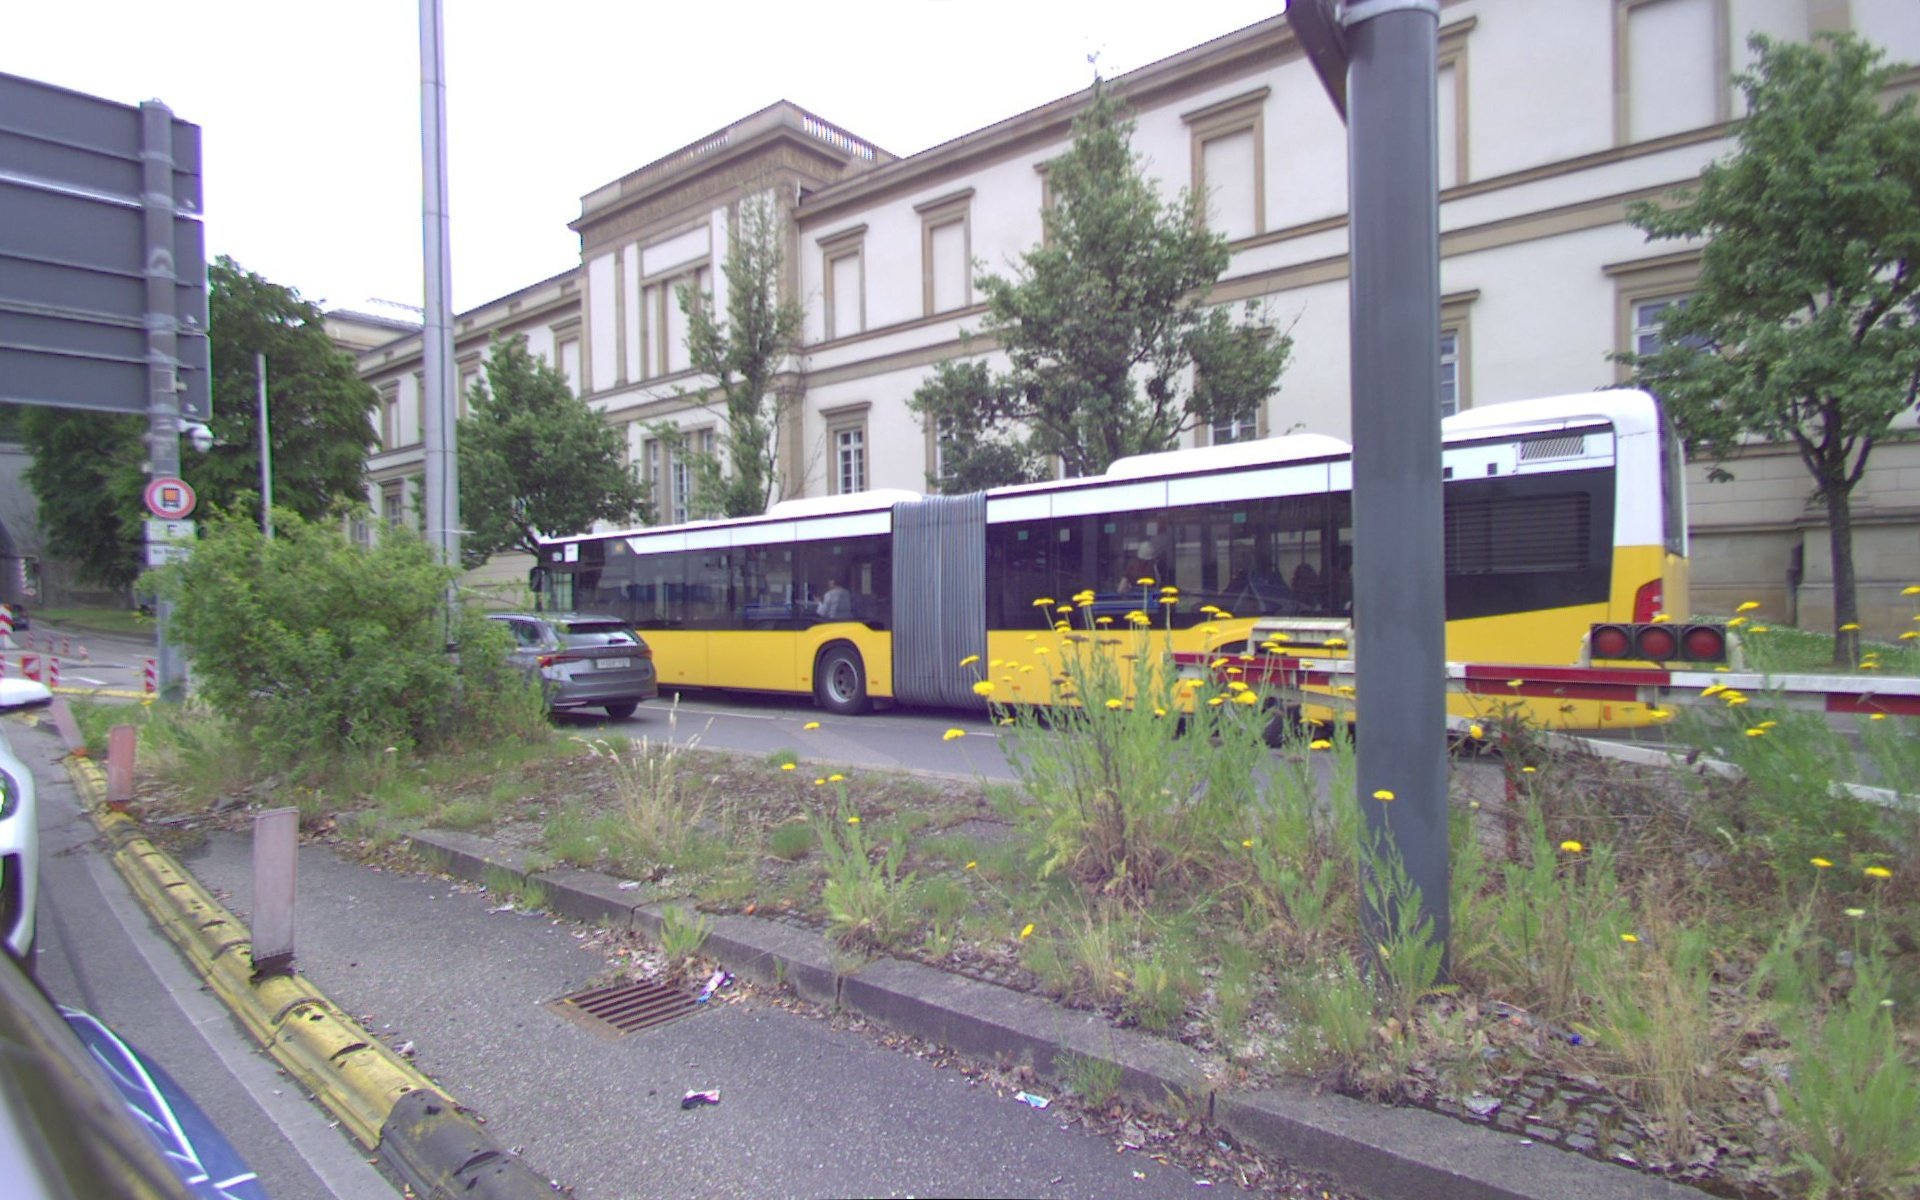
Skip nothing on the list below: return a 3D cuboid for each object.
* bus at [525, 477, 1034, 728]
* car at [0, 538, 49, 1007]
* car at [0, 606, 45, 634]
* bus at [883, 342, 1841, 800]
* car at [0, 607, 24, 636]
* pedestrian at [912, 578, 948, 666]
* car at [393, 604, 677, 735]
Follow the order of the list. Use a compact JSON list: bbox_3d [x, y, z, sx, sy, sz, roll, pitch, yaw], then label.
[{"bbox_3d":[-3.553,0.100,16.937,9.742,3.137,2.816,-1,0,41],"label":"bus"},{"bbox_3d":[-5.257,0.644,4.185,3.881,1.603,1.824,-2,0,42],"label":"car"},{"bbox_3d":[-53.031,1.122,57.210,2.820,1.563,1.520,-1,-1,38],"label":"car"},{"bbox_3d":[3.426,-0.137,10.981,9.115,3.137,2.817,-1,0,40],"label":"bus"},{"bbox_3d":[-54.015,1.209,56.976,3.881,1.603,1.645,-2,-1,42],"label":"car"},{"bbox_3d":[-0.604,0.436,20.087,0.578,1.708,0.460,-1,0,-15],"label":"pedestrian"},{"bbox_3d":[-5.896,0.870,13.820,4.282,1.525,1.690,-1,-2,38],"label":"car"}]
